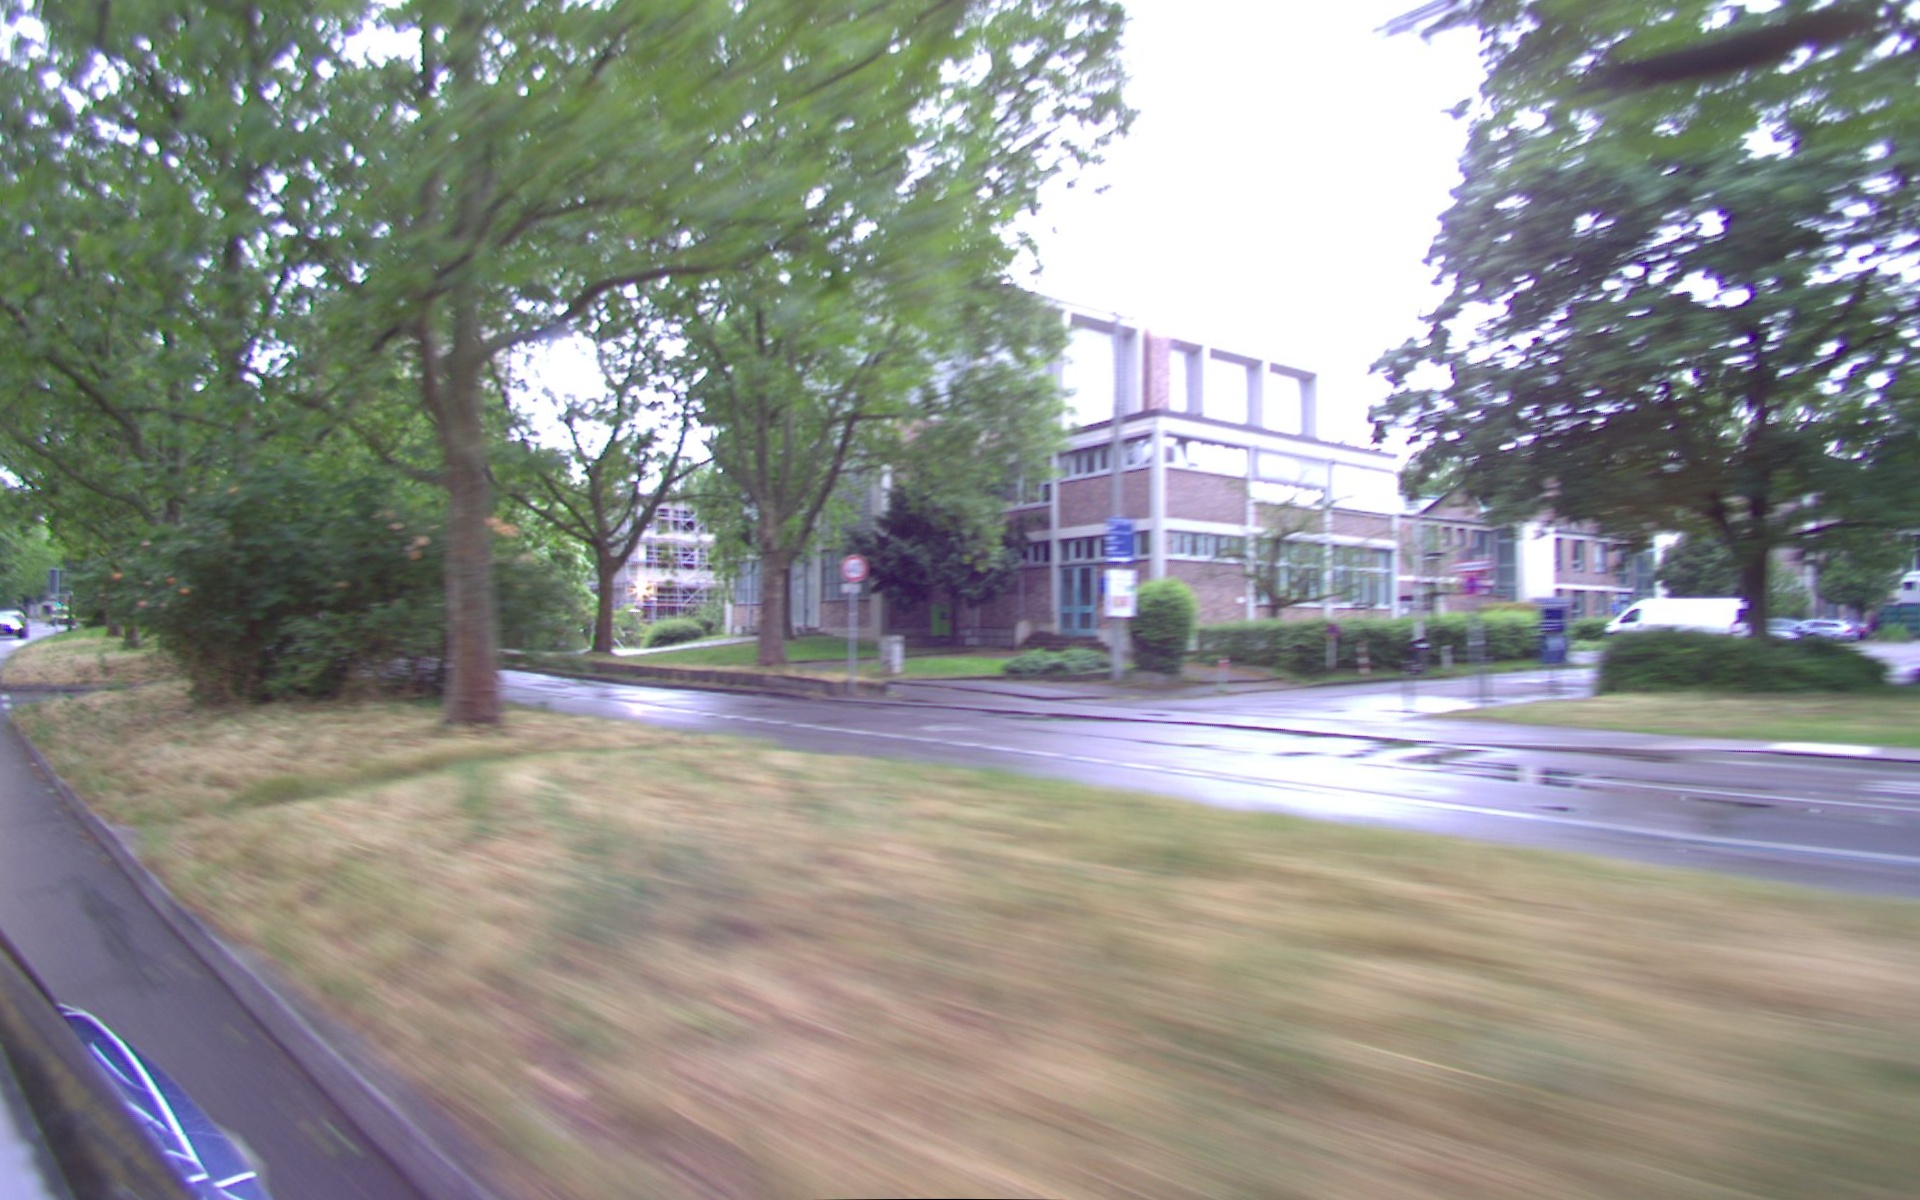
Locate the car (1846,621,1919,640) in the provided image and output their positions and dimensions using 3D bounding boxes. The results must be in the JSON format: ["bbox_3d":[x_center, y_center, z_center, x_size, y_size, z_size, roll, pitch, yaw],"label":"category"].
[{"bbox_3d":[61.140,2.028,66.945,1.566,1.151,3.565,-1,0,-35],"label":"car"}]

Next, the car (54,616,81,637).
[{"bbox_3d":[-87.360,2.608,99.118,1.856,1.890,4.749,-2,-1,-41],"label":"car"}]

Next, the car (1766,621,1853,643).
[{"bbox_3d":[49.113,1.812,58.545,1.566,1.151,3.565,-1,0,-35],"label":"car"}]

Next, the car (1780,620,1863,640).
[{"bbox_3d":[52.428,1.822,61.609,1.566,1.152,3.565,-1,0,-35],"label":"car"}]

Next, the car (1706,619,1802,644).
[{"bbox_3d":[41.224,1.617,52.598,1.662,1.151,3.565,-1,0,-35],"label":"car"}]

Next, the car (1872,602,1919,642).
[{"bbox_3d":[71.302,1.575,75.394,6.357,2.838,3.608,-1,0,-34],"label":"car"}]

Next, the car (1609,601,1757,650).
[{"bbox_3d":[35.048,1.180,49.245,2.079,2.229,5.484,-1,0,-31],"label":"car"}]

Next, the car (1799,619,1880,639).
[{"bbox_3d":[54.758,1.787,63.058,1.566,1.151,3.565,-1,0,-35],"label":"car"}]

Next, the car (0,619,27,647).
[{"bbox_3d":[-57.336,1.960,60.602,1.805,1.620,4.586,-1,0,-38],"label":"car"}]
